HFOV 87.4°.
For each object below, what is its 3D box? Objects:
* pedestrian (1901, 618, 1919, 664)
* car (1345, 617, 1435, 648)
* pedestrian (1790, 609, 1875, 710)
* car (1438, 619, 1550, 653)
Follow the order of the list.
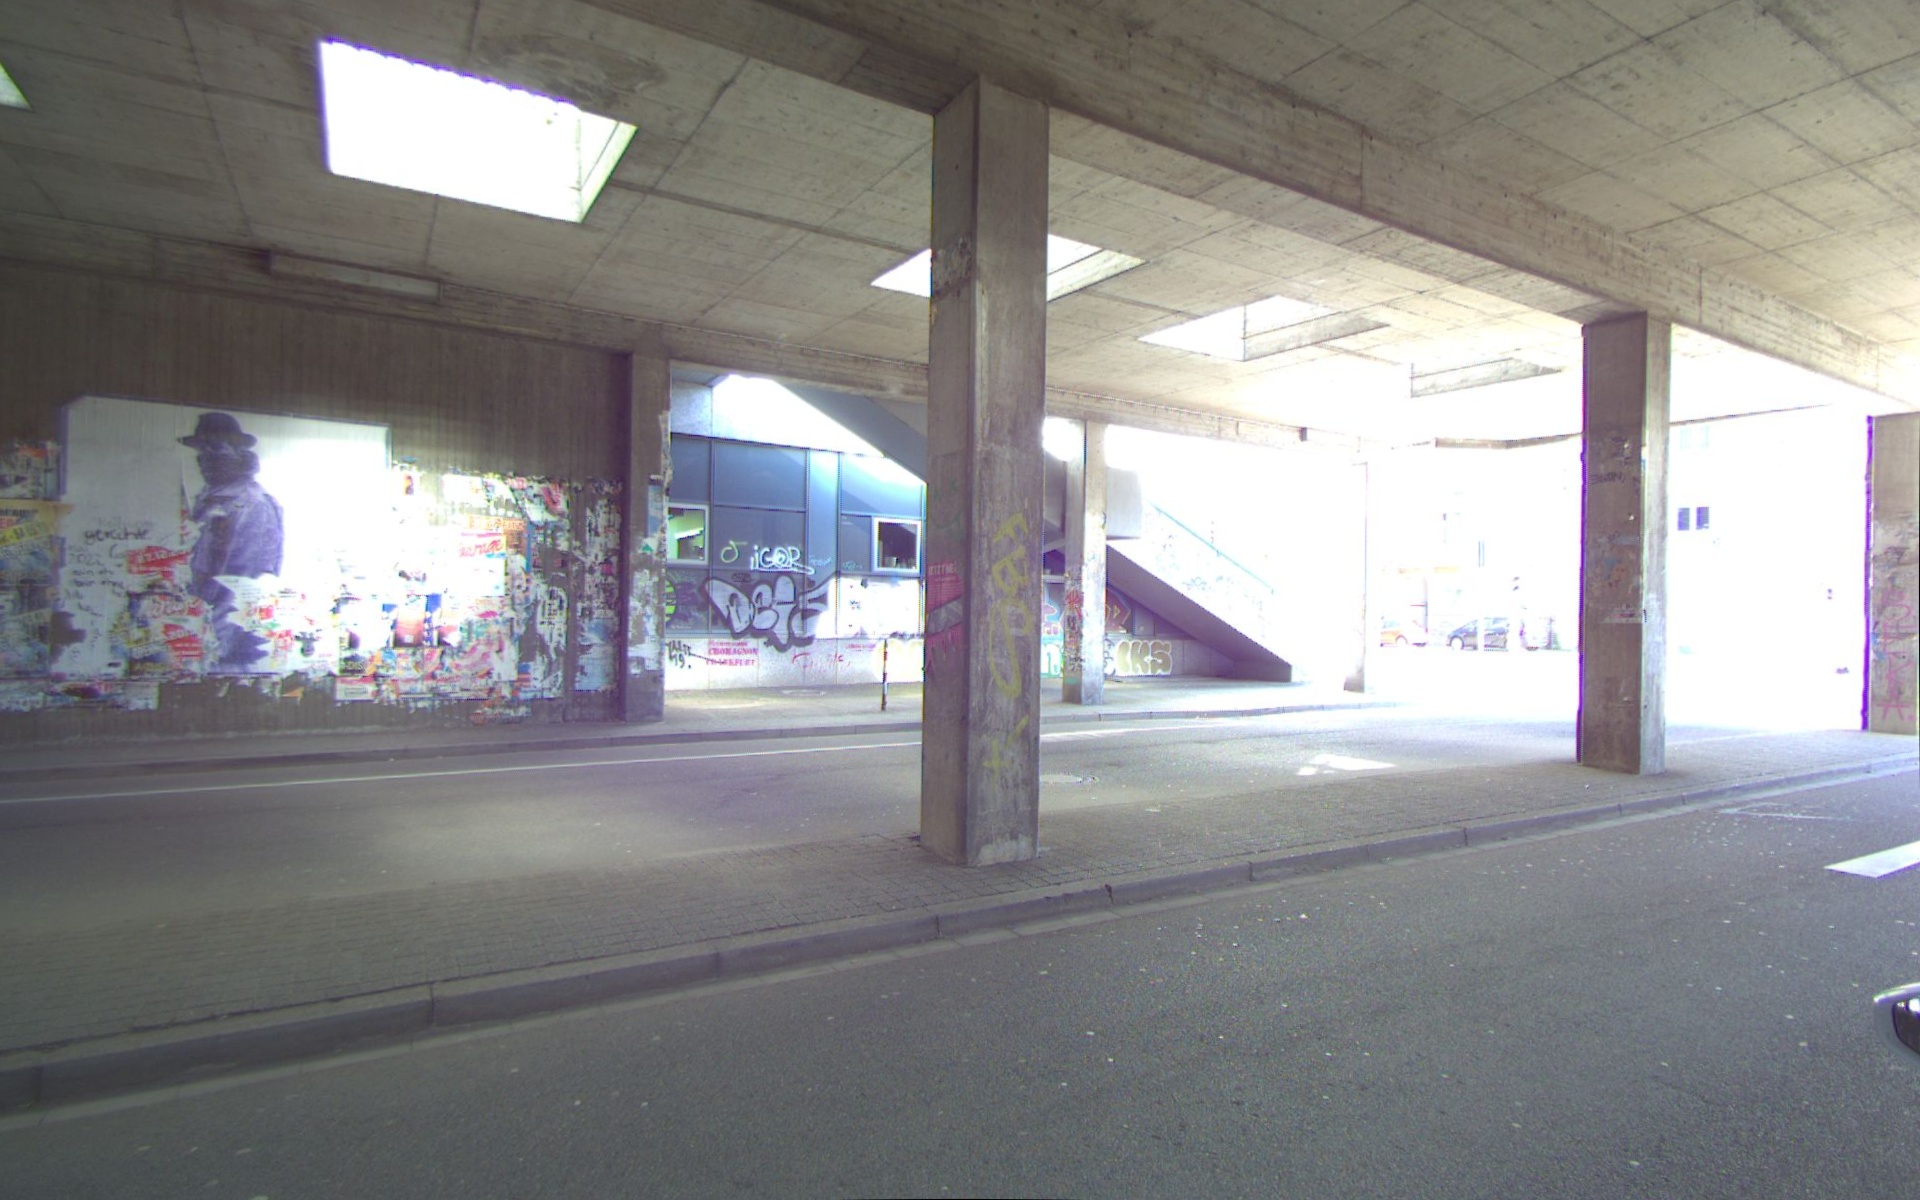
[{"bbox_3d":[35.090,1.512,36.793,0.732,1.659,0.669,2,0,-30],"label":"pedestrian"},{"bbox_3d":[22.524,1.686,52.697,1.905,1.428,3.965,2,0,-32],"label":"car"},{"bbox_3d":[16.036,1.077,18.472,0.784,1.785,0.925,2,0,-28],"label":"pedestrian"},{"bbox_3d":[25.352,1.691,47.824,1.905,1.428,4.382,2,0,-32],"label":"car"}]
